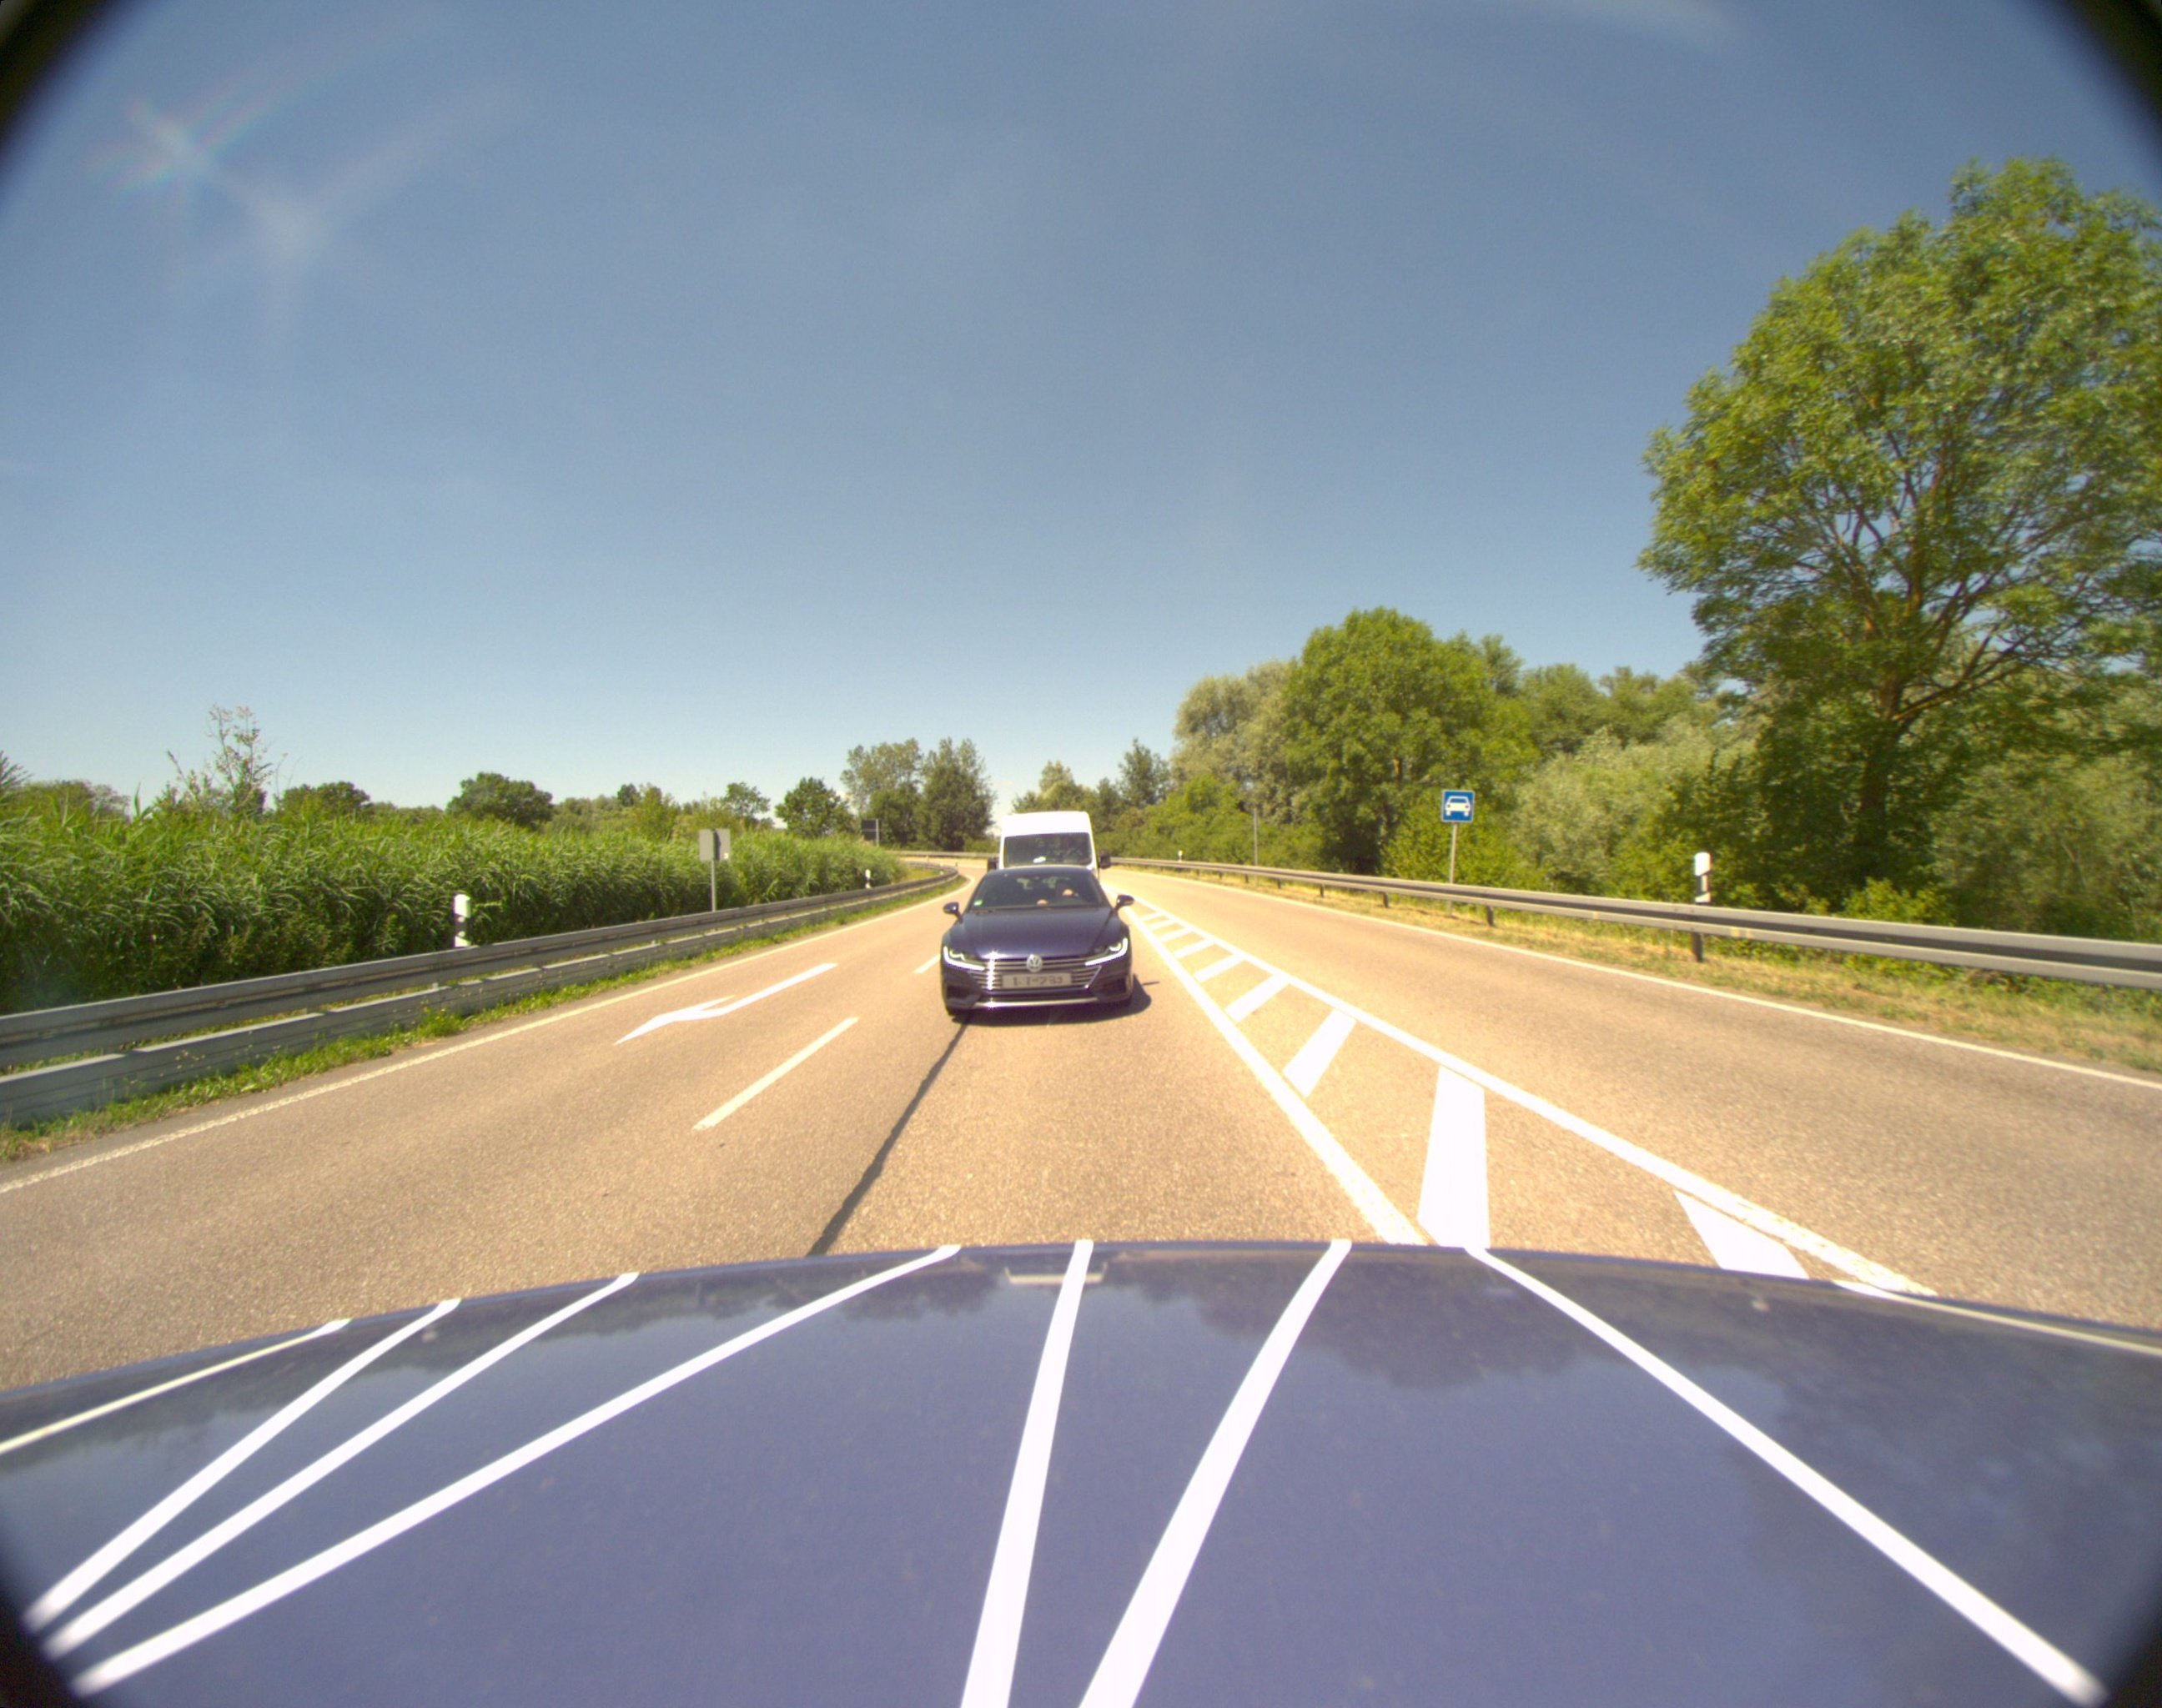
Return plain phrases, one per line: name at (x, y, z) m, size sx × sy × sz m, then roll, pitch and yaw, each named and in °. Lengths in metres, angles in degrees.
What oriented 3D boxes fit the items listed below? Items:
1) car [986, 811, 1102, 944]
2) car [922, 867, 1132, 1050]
car at (-0.665, 0.406, 16.936) m, size 2.059 × 2.376 × 5.826 m, roll -2°, pitch 1°, yaw 0°
car at (-0.449, 0.934, 8.534) m, size 1.761 × 1.401 × 3.999 m, roll -2°, pitch 1°, yaw 0°
